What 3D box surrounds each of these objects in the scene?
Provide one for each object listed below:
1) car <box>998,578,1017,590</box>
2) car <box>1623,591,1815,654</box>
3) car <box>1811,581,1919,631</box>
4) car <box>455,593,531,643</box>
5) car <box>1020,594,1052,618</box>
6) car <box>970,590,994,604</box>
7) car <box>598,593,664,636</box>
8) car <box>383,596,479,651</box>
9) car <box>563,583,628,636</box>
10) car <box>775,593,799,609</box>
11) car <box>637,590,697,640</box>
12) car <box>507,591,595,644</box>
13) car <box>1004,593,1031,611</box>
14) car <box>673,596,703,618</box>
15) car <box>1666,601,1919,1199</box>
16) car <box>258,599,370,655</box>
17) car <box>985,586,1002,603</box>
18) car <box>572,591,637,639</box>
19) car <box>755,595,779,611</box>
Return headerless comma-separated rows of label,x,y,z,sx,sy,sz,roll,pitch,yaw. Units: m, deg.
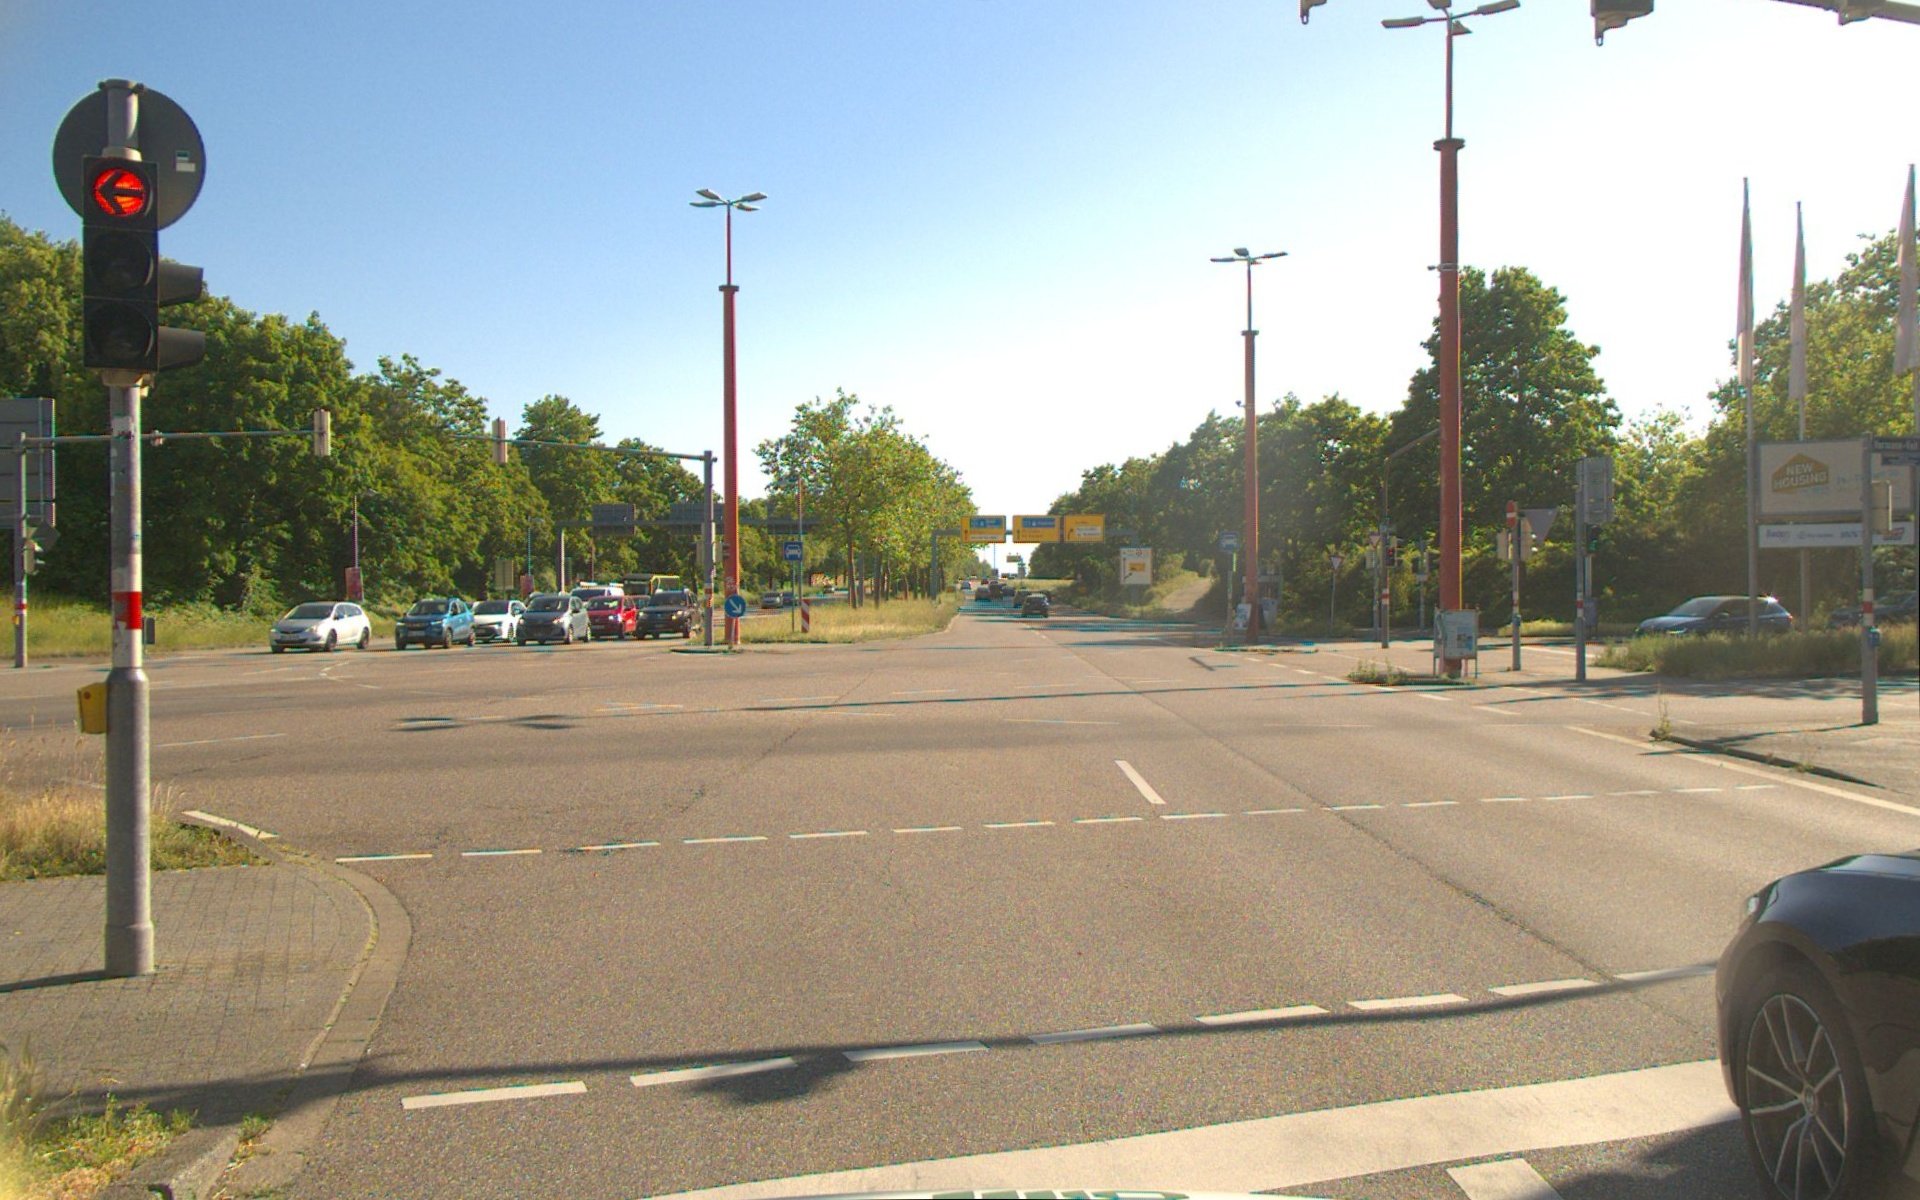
car,6.303,-2.117,220.896,2.116,1.601,4.277,0,0,-4
car,18.760,0.529,40.908,4.201,1.453,1.874,0,0,-19
car,31.085,0.168,55.064,4.482,1.601,2.162,0,0,-8
car,-15.990,0.601,56.792,1.956,1.601,4.113,-1,0,-8
car,5.147,0.371,112.445,2.114,1.601,4.281,0,0,1
car,2.441,-0.351,186.435,2.202,1.601,4.276,0,0,-5
car,-12.710,0.532,64.054,1.954,1.601,4.117,0,0,-4
car,-16.207,0.687,50.899,1.955,1.601,4.116,0,0,-5
car,-15.670,0.390,71.273,2.021,2.231,4.376,0,0,-3
car,-18.072,0.100,172.971,1.952,1.601,4.121,0,0,2
car,-9.873,0.475,55.999,1.841,1.601,4.113,0,0,-8
car,-12.804,0.526,51.972,1.954,1.601,4.118,0,0,-4
car,5.439,0.191,156.063,2.116,1.601,4.277,0,0,-4
car,-20.473,0.534,124.574,1.840,1.601,4.116,0,0,-5
car,2.972,0.717,2.368,1.953,1.419,4.476,0,0,-1
car,-19.586,0.791,50.306,1.954,1.601,4.118,0,0,-3
car,4.132,-0.632,202.381,1.953,2.049,3.999,0,0,-1
car,-12.478,0.511,58.279,1.956,1.601,4.113,0,0,-8
car,-18.336,0.282,157.066,1.846,1.480,3.656,0,0,0
